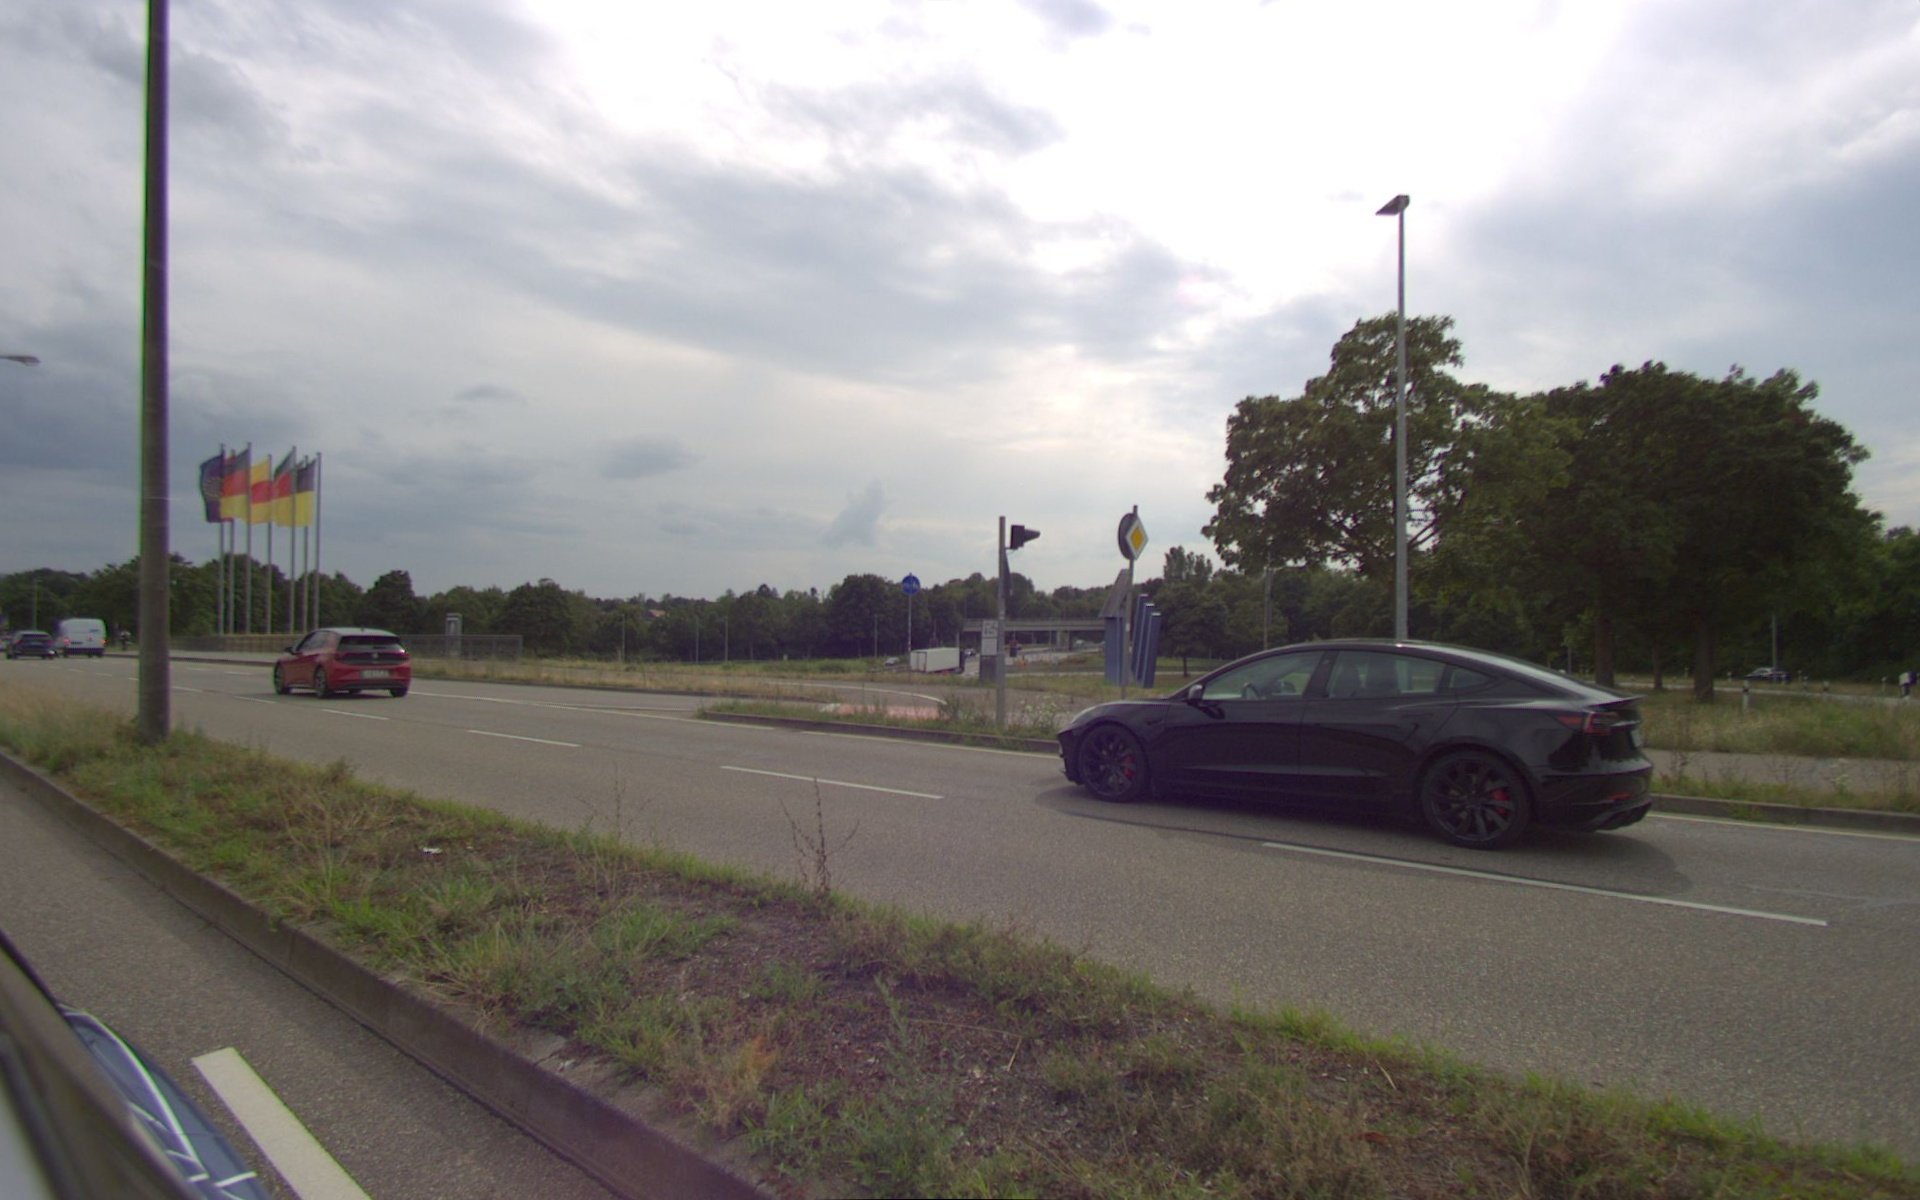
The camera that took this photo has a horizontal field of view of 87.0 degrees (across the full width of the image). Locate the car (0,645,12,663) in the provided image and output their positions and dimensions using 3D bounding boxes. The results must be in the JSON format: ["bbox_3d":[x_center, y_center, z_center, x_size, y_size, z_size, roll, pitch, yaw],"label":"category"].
[{"bbox_3d":[-94.310,5.296,99.028,4.769,1.738,1.843,-2,-4,42],"label":"car"}]

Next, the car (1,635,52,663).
[{"bbox_3d":[-53.880,2.831,58.415,4.585,1.597,1.728,-3,-4,42],"label":"car"}]

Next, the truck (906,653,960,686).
[{"bbox_3d":[-3.878,10.169,150.209,3.008,4.376,13.908,-1,-2,21],"label":"truck"}]

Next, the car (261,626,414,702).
[{"bbox_3d":[-14.329,1.435,23.208,4.334,1.586,1.634,-2,-4,40],"label":"car"}]

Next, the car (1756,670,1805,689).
[{"bbox_3d":[70.456,6.819,86.936,1.557,1.407,3.867,0,-2,10],"label":"car"}]

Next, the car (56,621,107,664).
[{"bbox_3d":[-57.992,2.826,66.769,2.029,2.663,6.404,4,-5,-44],"label":"car"}]

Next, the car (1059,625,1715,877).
[{"bbox_3d":[3.172,0.972,8.141,4.560,1.487,1.728,-2,-3,40],"label":"car"}]

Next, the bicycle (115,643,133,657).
[{"bbox_3d":[-65.394,3.904,79.192,2.057,1.057,0.699,-2,-2,39],"label":"bicycle"}]

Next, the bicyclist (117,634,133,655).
[{"bbox_3d":[-65.314,3.484,79.161,0.975,1.639,0.787,-2,-1,39],"label":"bicyclist"}]
